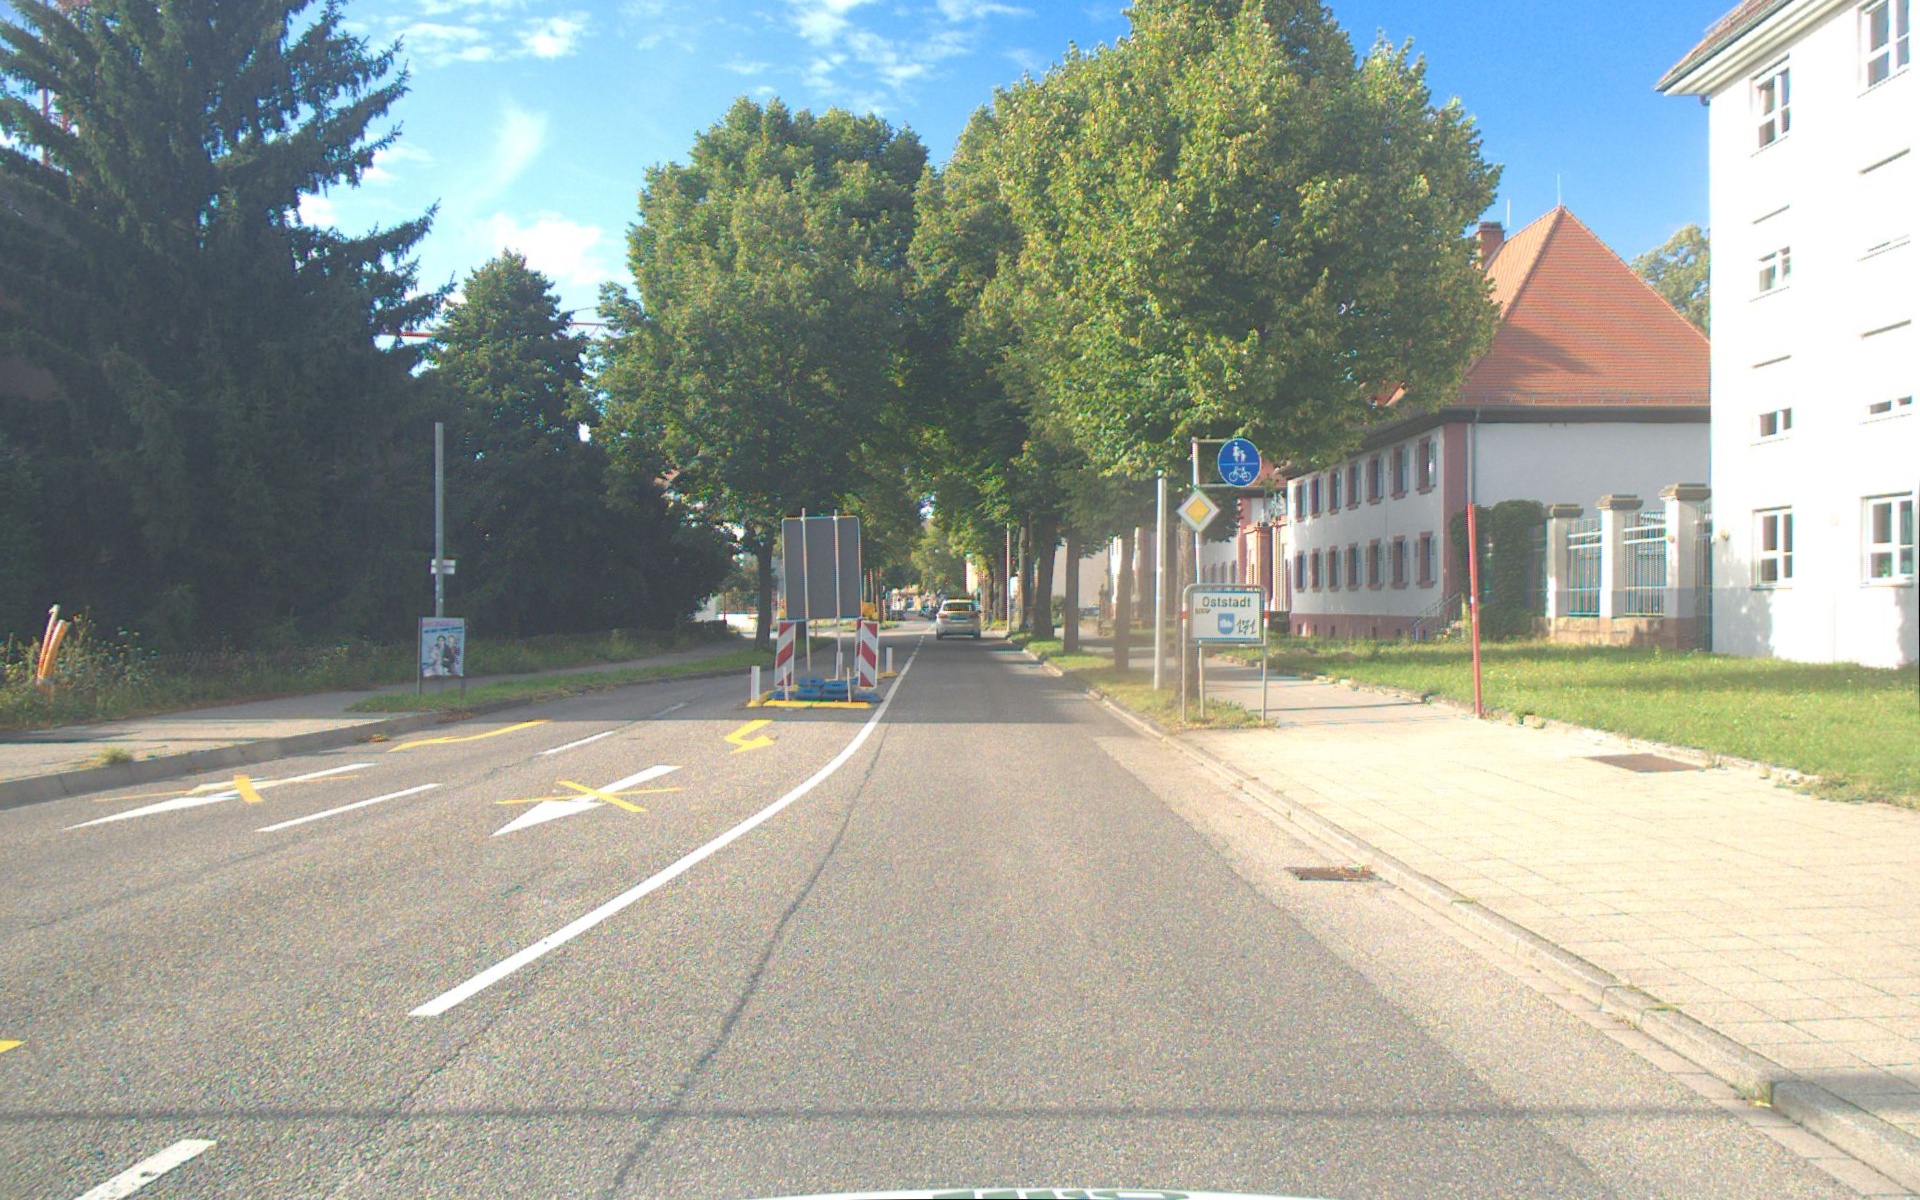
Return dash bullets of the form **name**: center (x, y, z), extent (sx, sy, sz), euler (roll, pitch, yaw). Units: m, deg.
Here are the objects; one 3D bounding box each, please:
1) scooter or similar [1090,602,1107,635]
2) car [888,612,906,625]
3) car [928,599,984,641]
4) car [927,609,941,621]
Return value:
- **scooter or similar**: center (5.636, 0.744, 67.268), extent (0.567, 1.314, 1.381), euler (-2, 0, 0)
- **car**: center (-8.295, 2.408, 217.177), extent (1.956, 1.668, 3.993), euler (-1, 0, -7)
- **car**: center (-0.190, 0.805, 66.468), extent (1.954, 1.582, 4.270), euler (1, -1, -4)
- **car**: center (-3.766, 2.189, 238.720), extent (1.953, 1.786, 3.999), euler (1, -1, -1)
